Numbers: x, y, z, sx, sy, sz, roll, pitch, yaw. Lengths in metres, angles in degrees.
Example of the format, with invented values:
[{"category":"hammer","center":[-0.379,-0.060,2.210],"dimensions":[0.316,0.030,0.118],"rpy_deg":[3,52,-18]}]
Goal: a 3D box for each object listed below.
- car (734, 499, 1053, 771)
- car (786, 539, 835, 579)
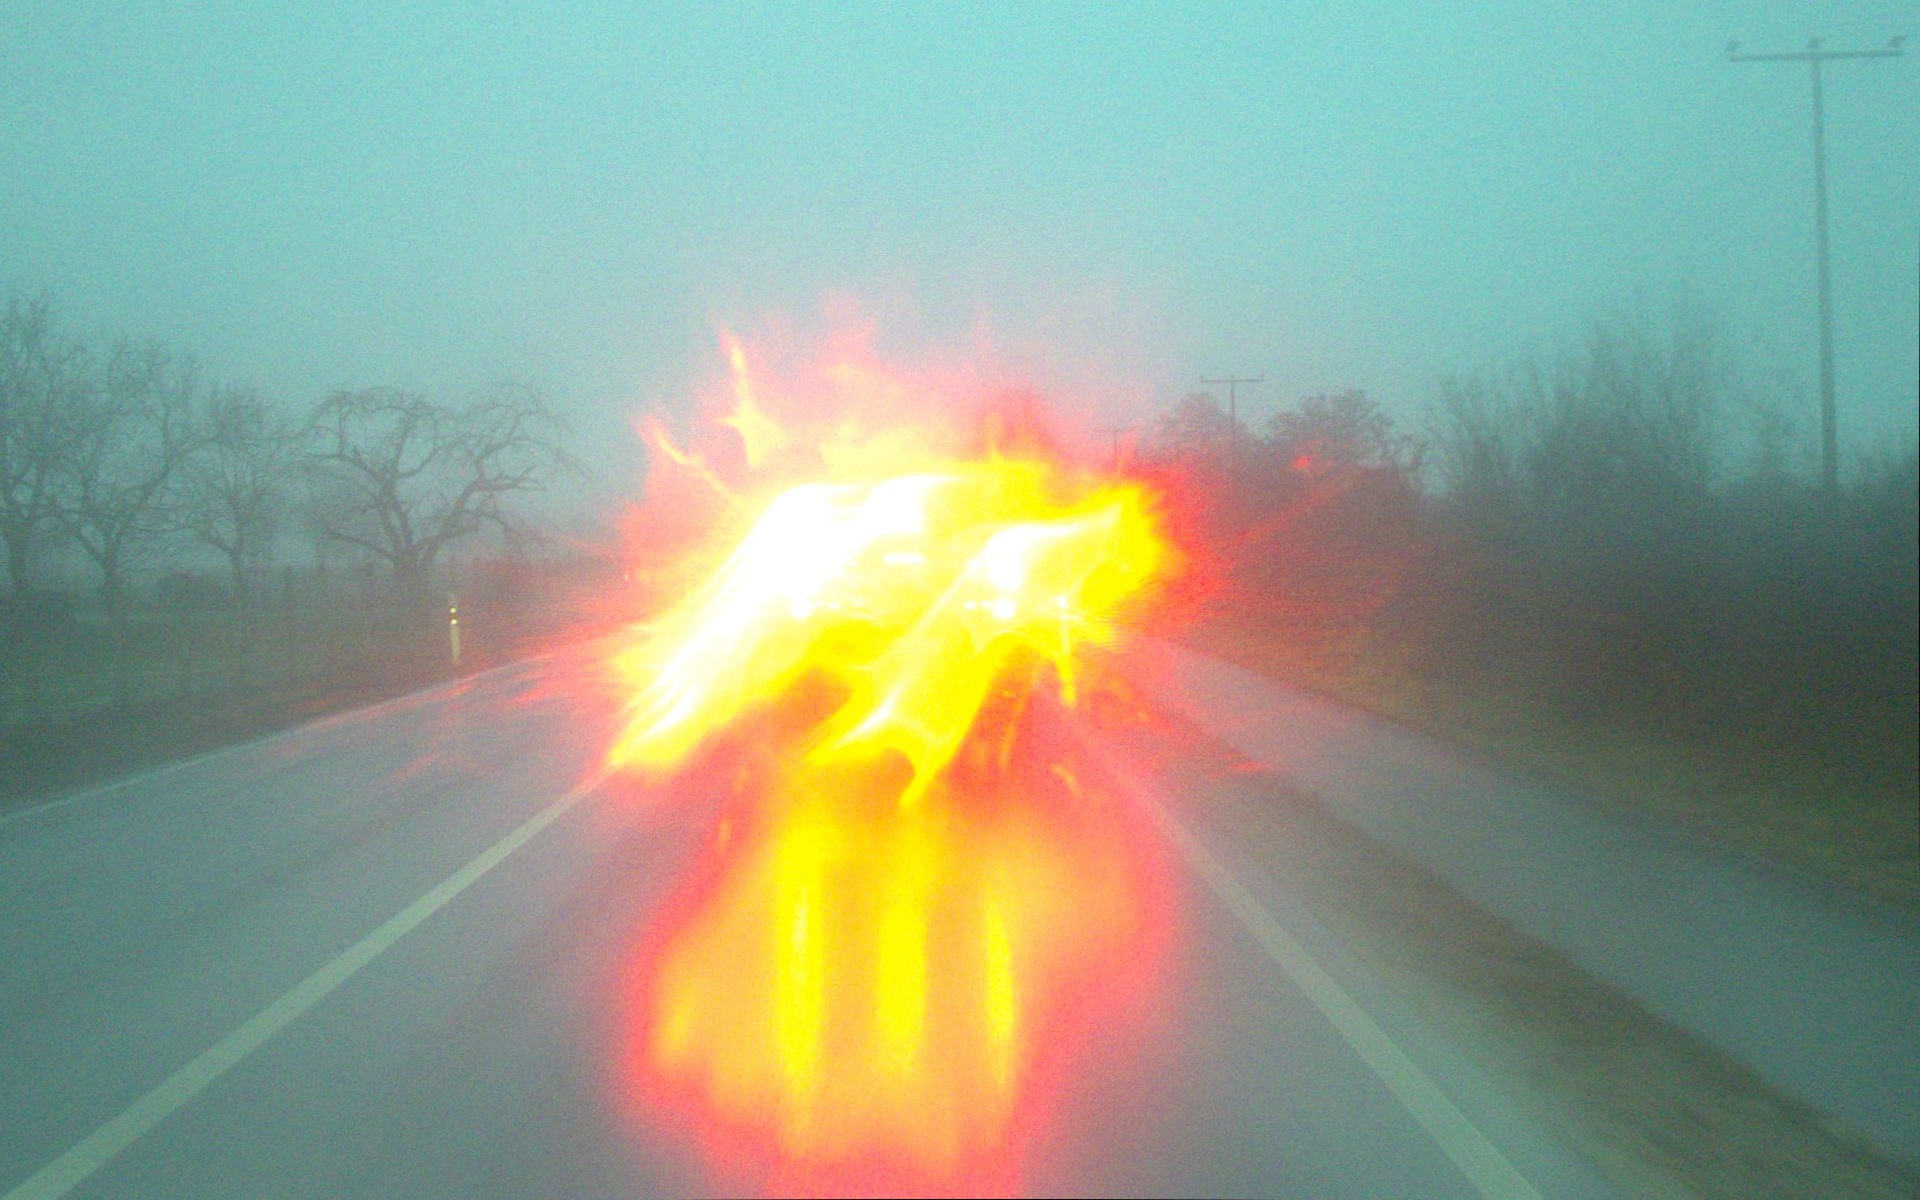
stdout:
[{"category":"car","center":[-0.476,0.187,25.421],"dimensions":[2.120,1.813,4.980],"rpy_deg":[0,1,-1]},{"category":"car","center":[-6.008,-1.649,137.824],"dimensions":[1.855,1.512,4.517],"rpy_deg":[-2,1,-3]}]
